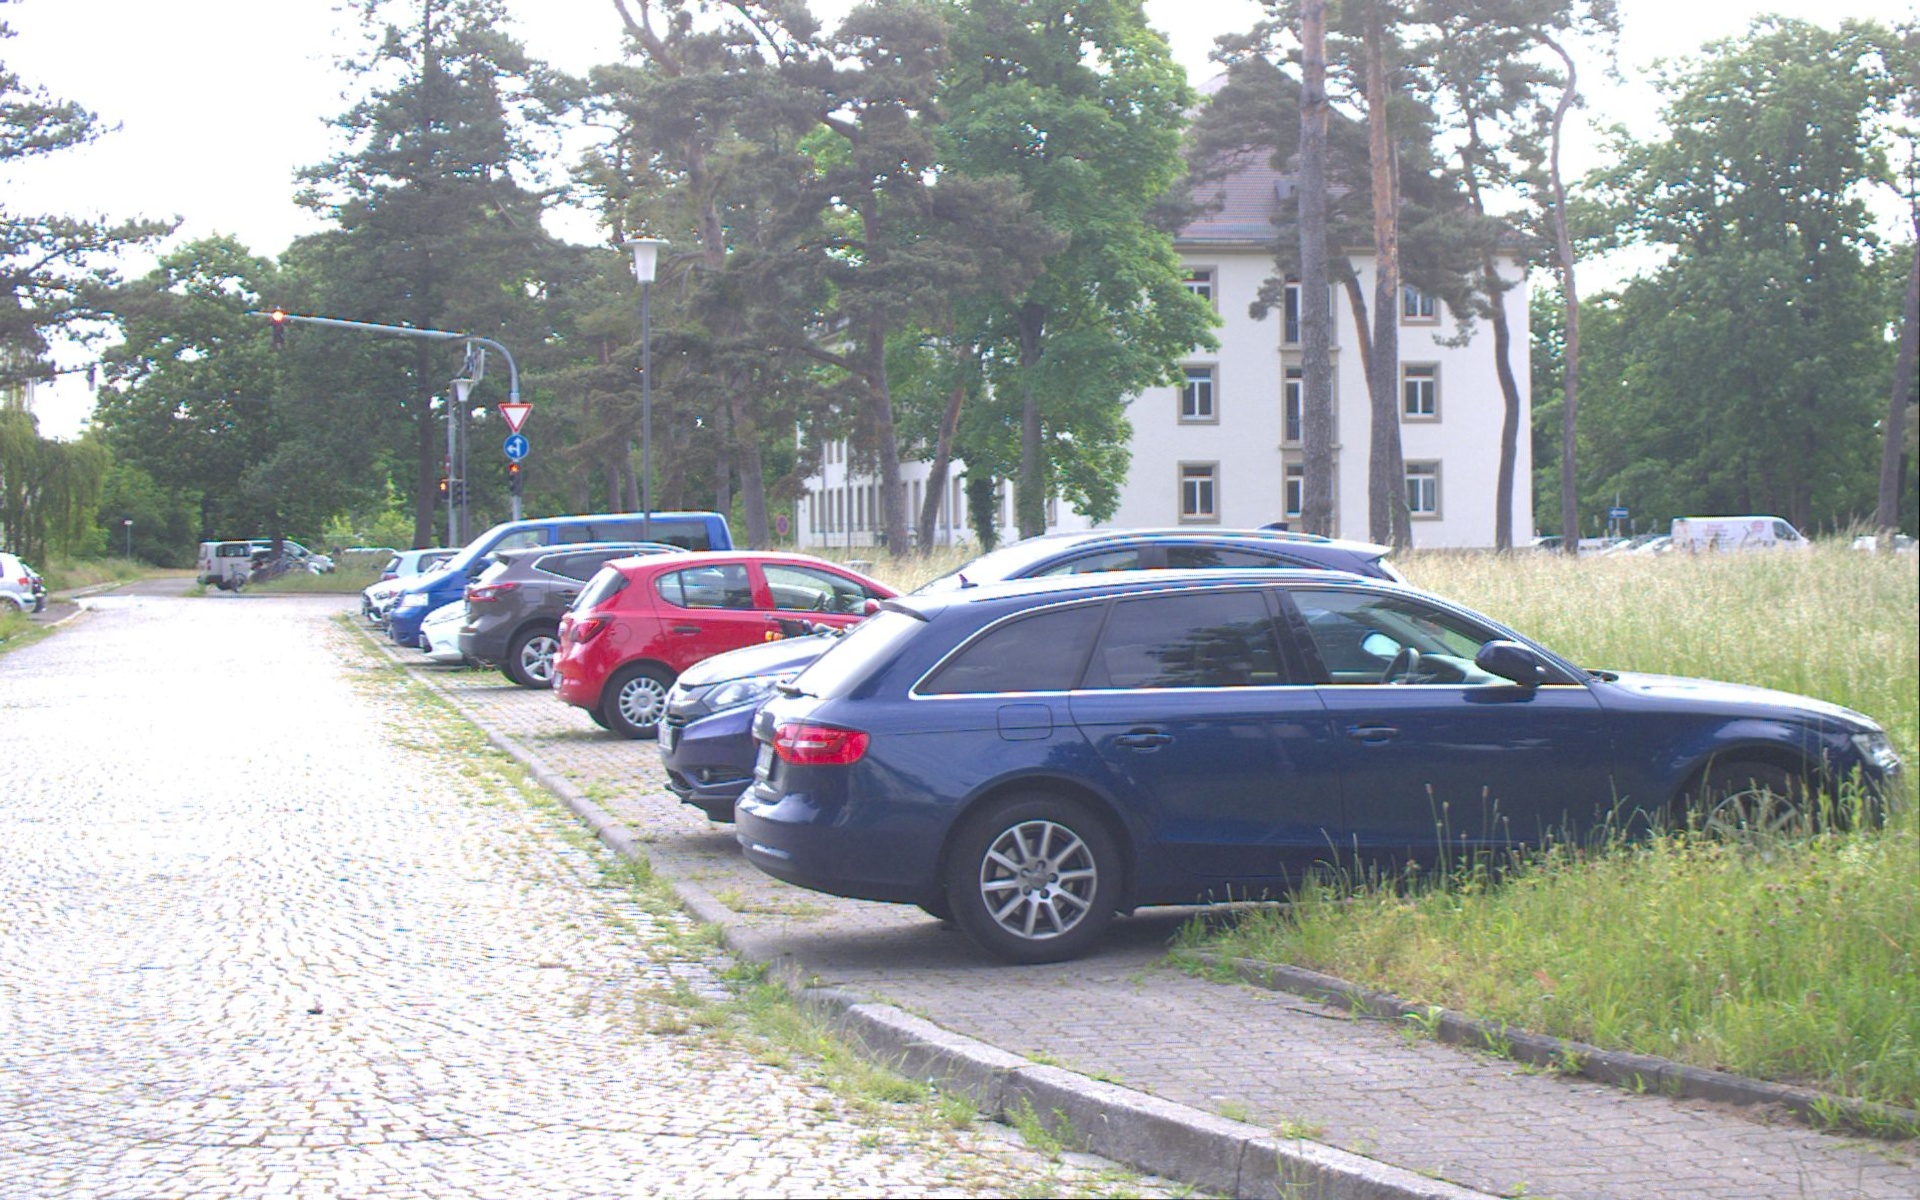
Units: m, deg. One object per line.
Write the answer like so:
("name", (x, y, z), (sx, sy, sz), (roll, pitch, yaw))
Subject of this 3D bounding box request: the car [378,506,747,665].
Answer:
("car", (-5.494, -0.226, 47.327), (4.794, 1.997, 1.967), (-2, 1, -13))

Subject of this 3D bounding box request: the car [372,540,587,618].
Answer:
("car", (-9.881, -0.452, 70.658), (4.134, 1.458, 1.634), (-2, 1, -16))

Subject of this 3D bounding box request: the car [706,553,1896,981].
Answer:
("car", (1.263, 0.587, 13.745), (4.356, 1.434, 1.927), (-2, 1, -9))

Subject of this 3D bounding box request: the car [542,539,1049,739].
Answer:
("car", (-1.399, 0.285, 28.558), (3.922, 1.491, 1.785), (-2, 1, -13))

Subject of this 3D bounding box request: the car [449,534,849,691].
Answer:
("car", (-3.525, 0.110, 38.644), (4.202, 1.589, 1.954), (-2, 1, -13))

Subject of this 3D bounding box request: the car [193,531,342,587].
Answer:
("car", (-27.277, -1.628, 135.443), (5.375, 2.094, 2.179), (-1, 1, -23))

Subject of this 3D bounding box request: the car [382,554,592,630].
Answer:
("car", (-8.371, -0.160, 60.737), (3.586, 1.218, 1.629), (-2, 1, -10))

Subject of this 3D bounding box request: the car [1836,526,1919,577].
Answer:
("car", (33.579, -1.713, 122.460), (4.132, 1.797, 1.900), (1, 0, -9))

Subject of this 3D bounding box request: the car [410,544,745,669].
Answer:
("car", (-5.003, 0.061, 44.834), (4.096, 1.473, 1.722), (-2, 1, -14))

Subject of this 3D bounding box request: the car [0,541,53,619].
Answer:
("car", (-20.801, -0.365, 70.189), (4.297, 1.548, 1.812), (-2, 1, -17))

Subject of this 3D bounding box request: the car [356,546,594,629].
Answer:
("car", (-9.226, -0.258, 65.364), (4.184, 1.432, 1.756), (-2, 1, -18))

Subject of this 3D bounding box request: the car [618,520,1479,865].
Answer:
("car", (0.421, 0.428, 18.411), (4.243, 1.617, 1.887), (-2, 1, -13))

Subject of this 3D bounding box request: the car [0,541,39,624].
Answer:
("car", (-21.787, -0.338, 72.855), (4.297, 1.726, 1.653), (-2, 1, -16))

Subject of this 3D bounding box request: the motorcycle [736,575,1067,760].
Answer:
("motorcycle", (-0.413, 0.461, 24.167), (2.229, 1.197, 0.568), (-2, 1, -13))

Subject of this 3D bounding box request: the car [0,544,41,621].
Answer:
("car", (-20.051, -0.392, 67.689), (3.719, 1.476, 1.674), (1, 1, -14))

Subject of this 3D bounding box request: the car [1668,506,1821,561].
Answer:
("car", (30.278, -2.555, 132.739), (5.299, 2.012, 2.106), (1, 0, -10))

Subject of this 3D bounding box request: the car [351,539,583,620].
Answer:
("car", (-9.766, -0.425, 68.077), (4.228, 1.474, 1.710), (-2, 1, -22))
